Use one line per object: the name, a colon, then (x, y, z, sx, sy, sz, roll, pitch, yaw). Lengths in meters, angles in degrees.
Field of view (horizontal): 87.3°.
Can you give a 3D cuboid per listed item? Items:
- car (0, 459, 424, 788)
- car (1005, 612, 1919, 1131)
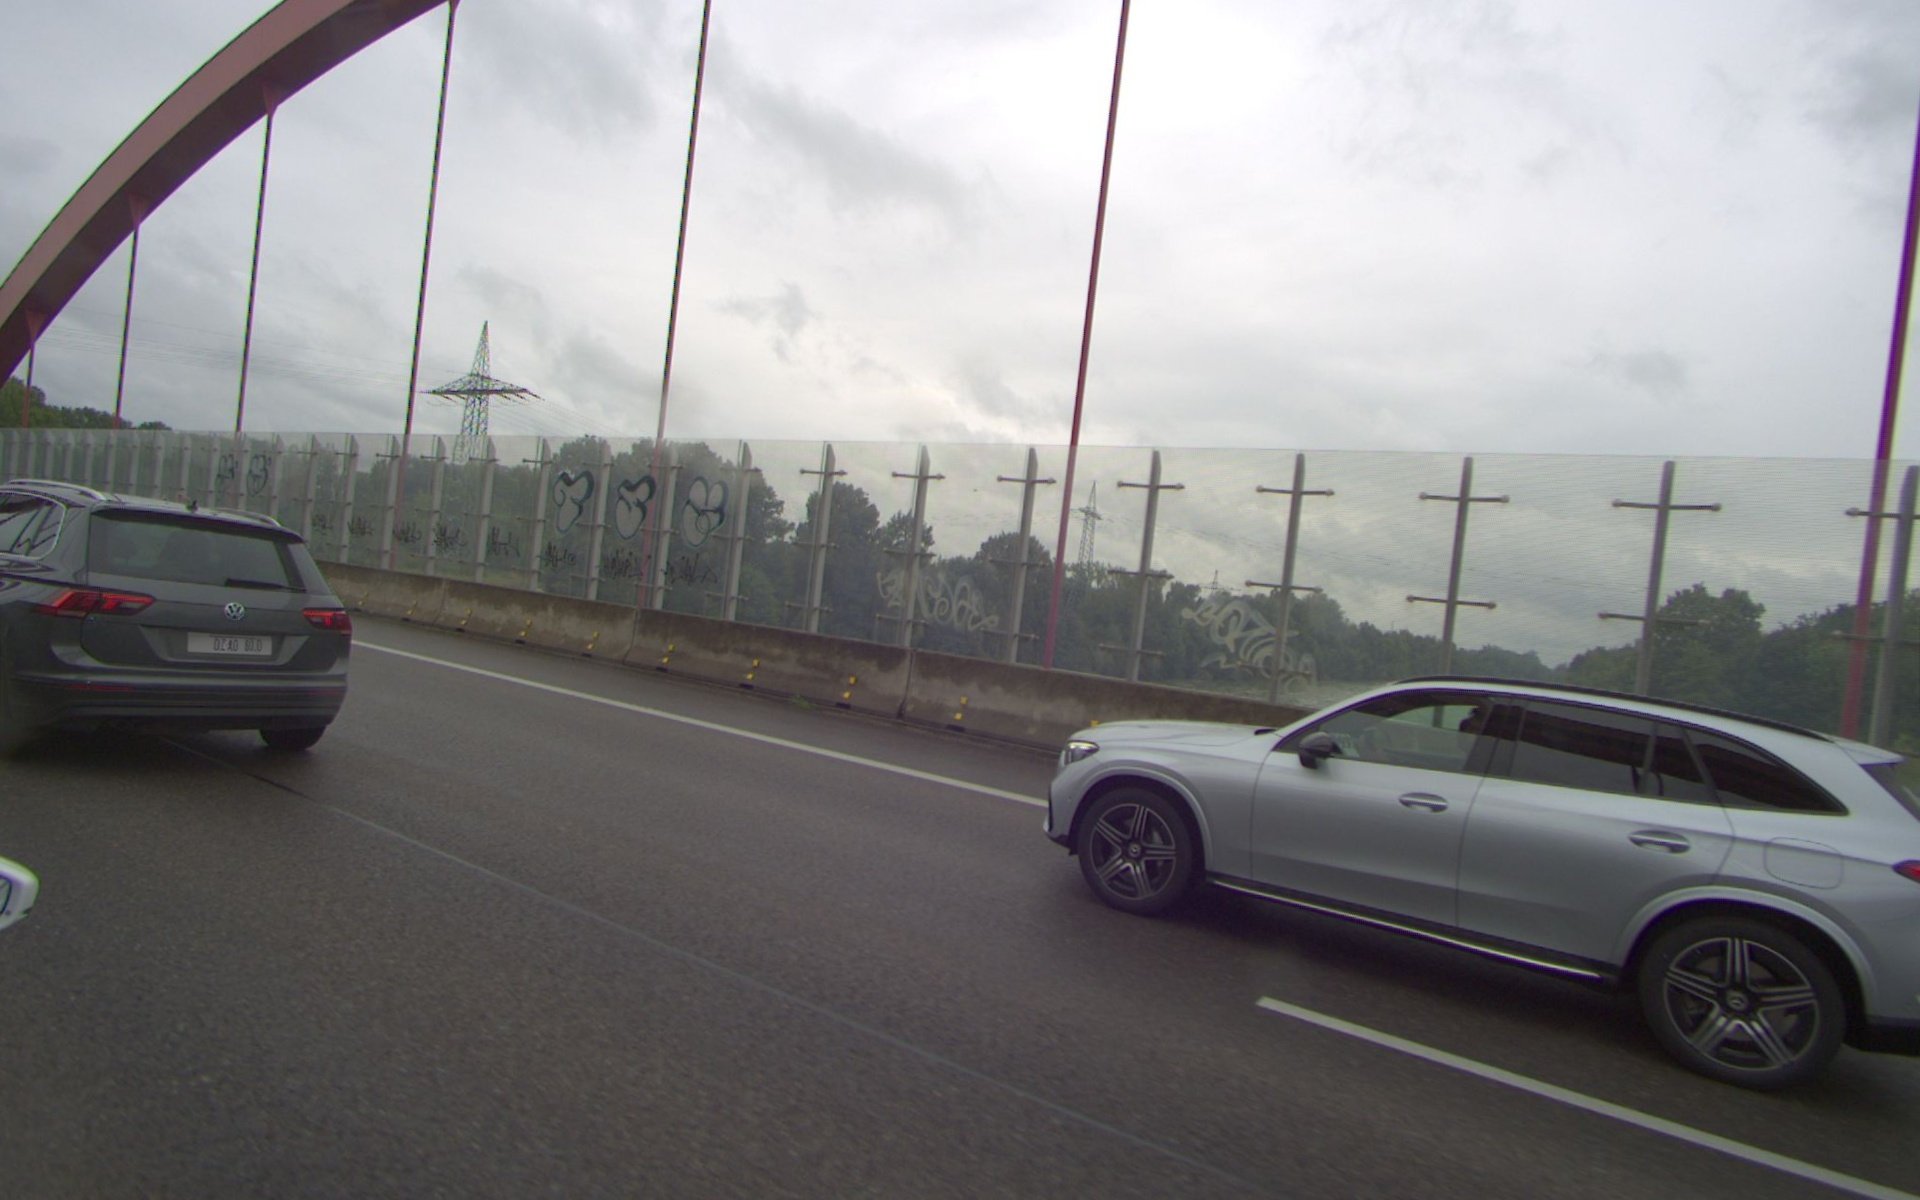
car: (-5.945, 0.024, 7.067, 4.035, 1.689, 1.915, 7, -1, 31)
car: (3.102, 1.244, 5.604, 5.238, 1.637, 1.998, 6, -2, 30)
